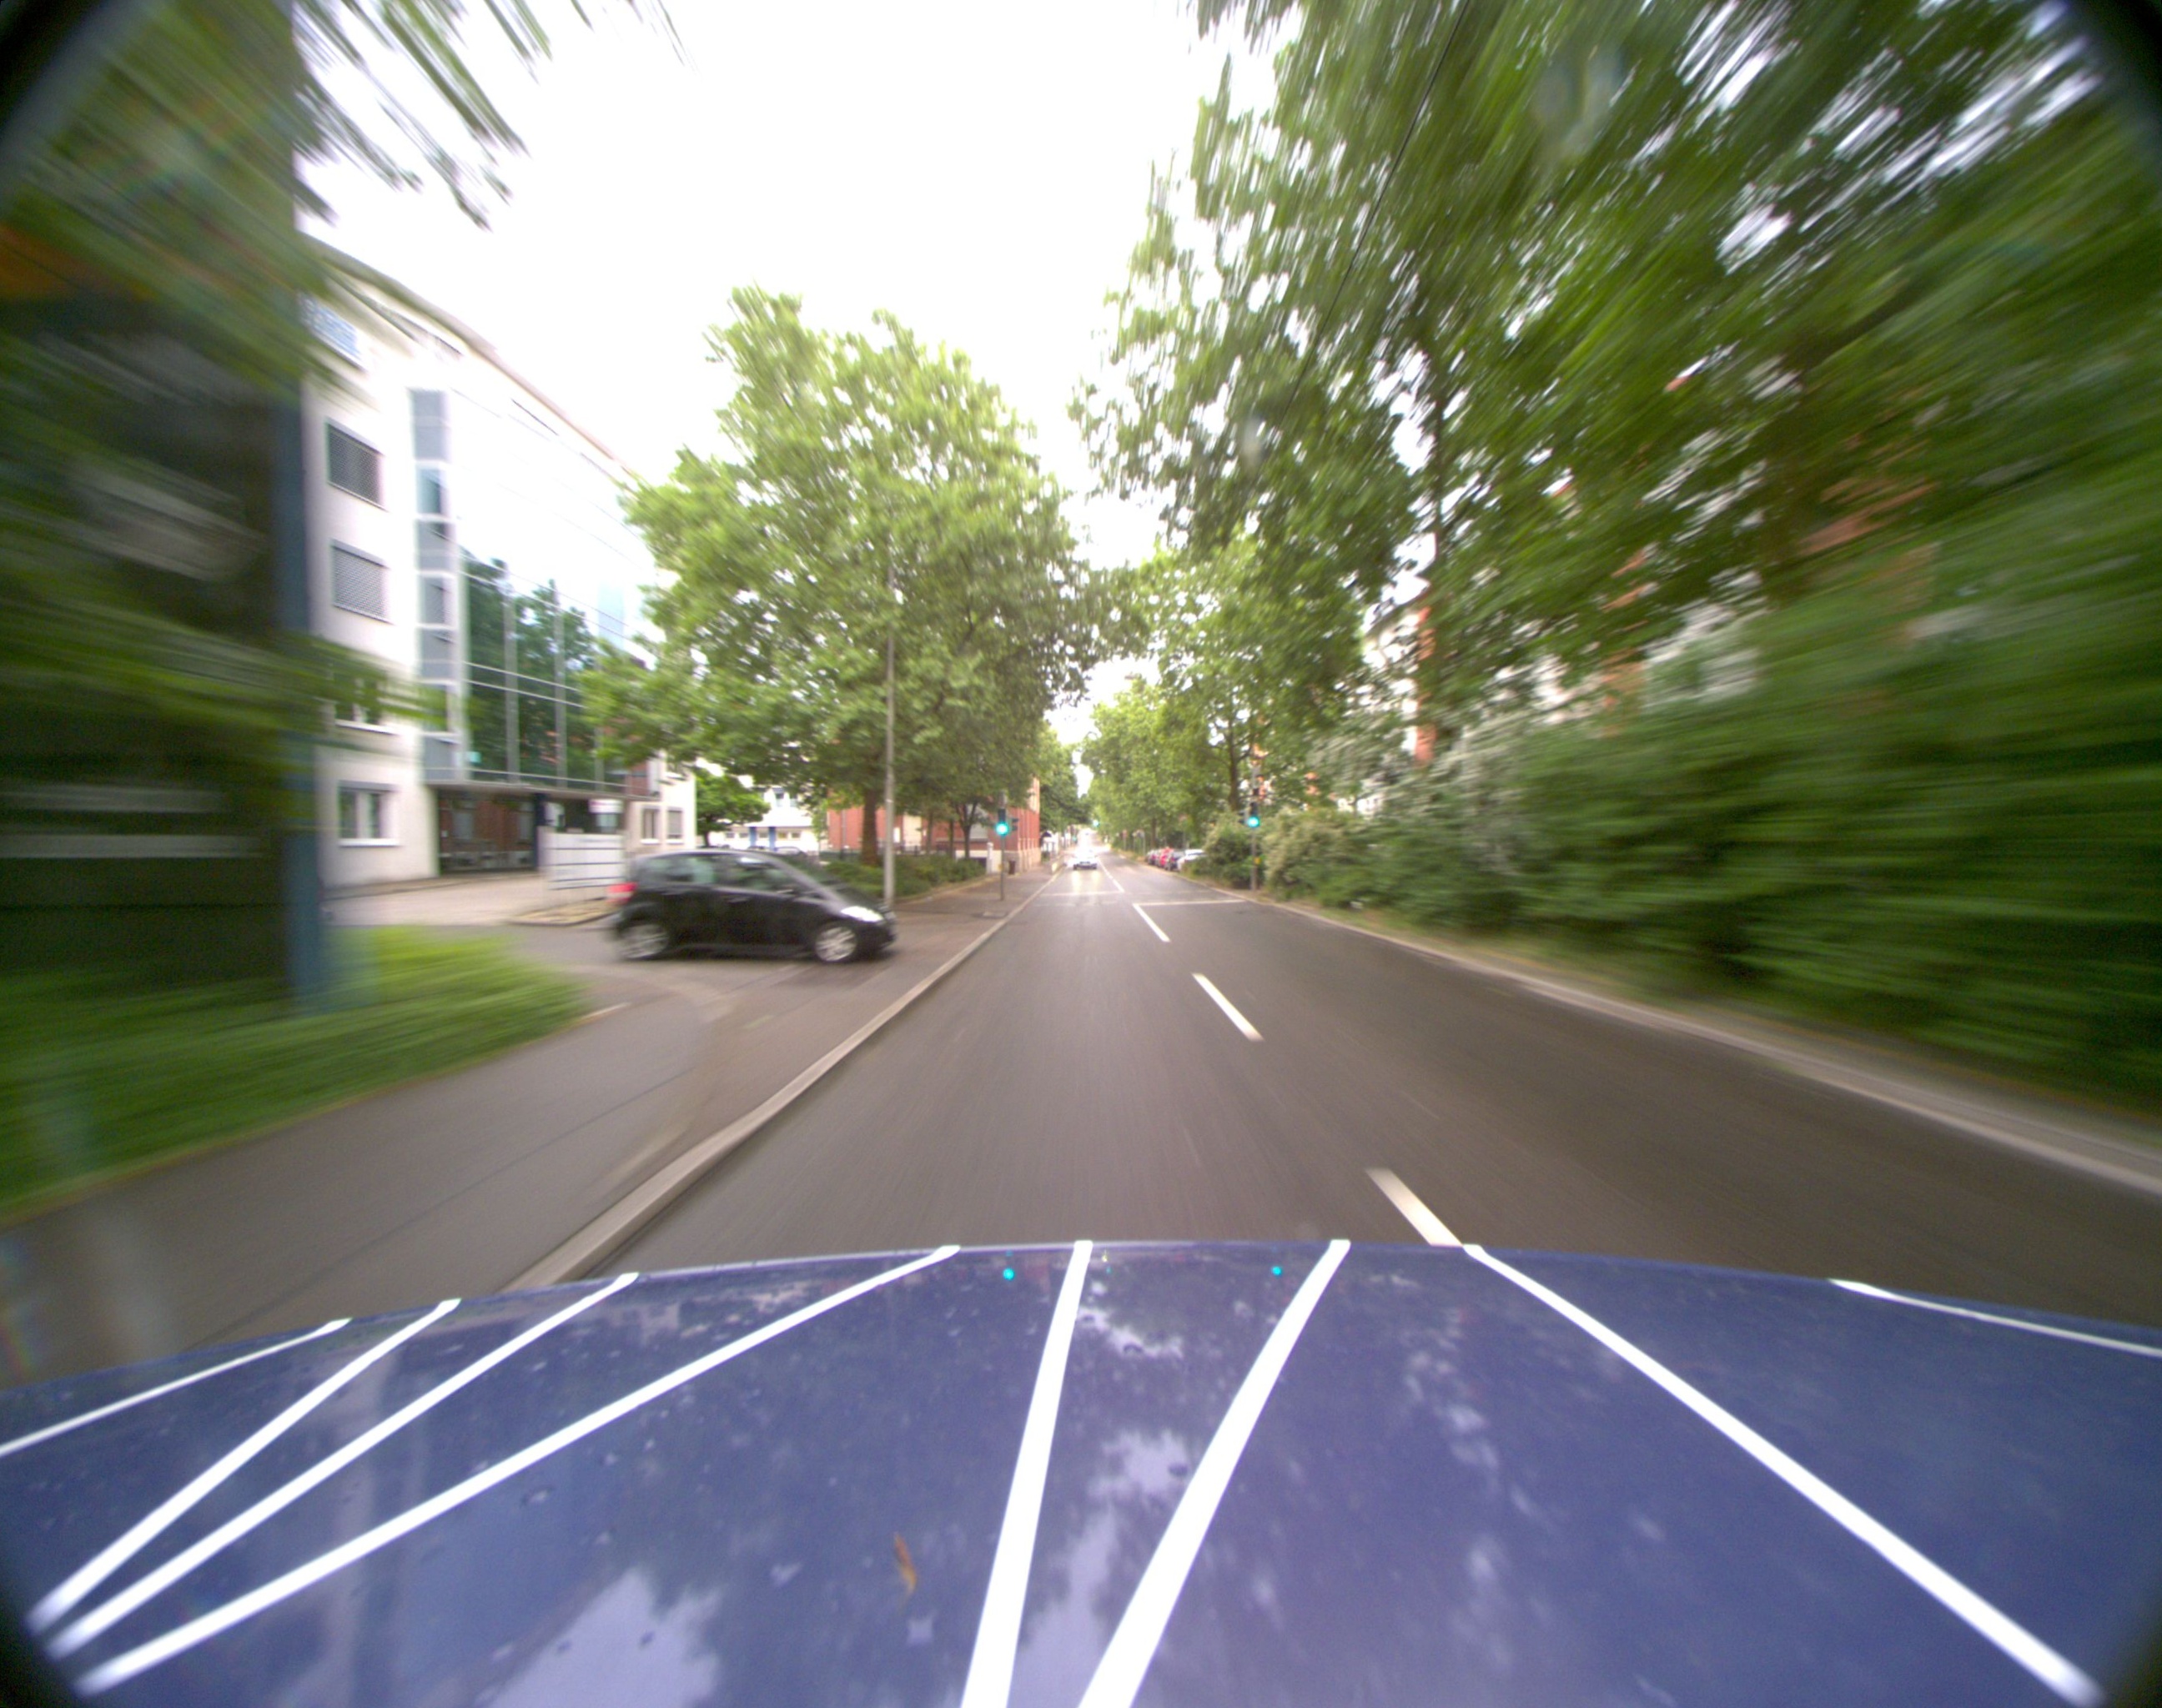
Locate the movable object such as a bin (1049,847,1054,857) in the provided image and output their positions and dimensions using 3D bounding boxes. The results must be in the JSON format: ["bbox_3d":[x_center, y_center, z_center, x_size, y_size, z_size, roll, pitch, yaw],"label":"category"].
[{"bbox_3d":[-3.388,-0.204,87.049,0.506,1.109,0.618,0,2,1],"label":"movable object such as a bin"}]

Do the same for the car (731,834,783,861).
[{"bbox_3d":[-23.657,-0.542,55.565,1.913,1.808,3.996,-2,2,1],"label":"car"}]

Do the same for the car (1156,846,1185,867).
[{"bbox_3d":[6.794,0.154,58.257,1.721,1.459,3.754,-1,1,-1],"label":"car"}]

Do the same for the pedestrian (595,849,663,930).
[{"bbox_3d":[-9.136,0.699,15.384,0.920,1.608,0.702,0,1,4],"label":"pedestrian"}]

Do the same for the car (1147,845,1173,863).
[{"bbox_3d":[7.105,-0.061,68.744,1.721,1.501,4.802,-1,1,-1],"label":"car"}]

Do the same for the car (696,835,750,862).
[{"bbox_3d":[-26.108,-0.440,55.605,1.913,1.808,3.996,-2,2,1],"label":"car"}]

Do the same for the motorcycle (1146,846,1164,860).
[{"bbox_3d":[7.185,-0.136,73.813,1.717,1.333,0.722,0,2,1],"label":"motorcycle"}]

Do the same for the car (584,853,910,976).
[{"bbox_3d":[-4.587,0.812,11.017,3.860,1.538,2.025,1,1,-6],"label":"car"}]

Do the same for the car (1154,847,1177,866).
[{"bbox_3d":[7.099,0.170,63.997,1.559,1.459,3.396,-1,1,-1],"label":"car"}]

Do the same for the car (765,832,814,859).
[{"bbox_3d":[-21.364,-0.650,55.904,1.913,1.808,3.996,-2,2,1],"label":"car"}]

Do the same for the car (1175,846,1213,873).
[{"bbox_3d":[6.688,0.310,45.244,1.721,1.459,4.309,-1,1,1],"label":"car"}]

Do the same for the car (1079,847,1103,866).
[{"bbox_3d":[0.761,0.174,59.580,1.692,1.334,3.998,0,1,-2],"label":"car"}]

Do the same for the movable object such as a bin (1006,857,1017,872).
[{"bbox_3d":[-4.337,0.644,47.266,0.592,0.927,0.572,1,1,0],"label":"movable object such as a bin"}]

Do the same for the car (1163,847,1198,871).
[{"bbox_3d":[6.711,0.317,51.519,1.721,1.459,4.232,-1,1,-1],"label":"car"}]
